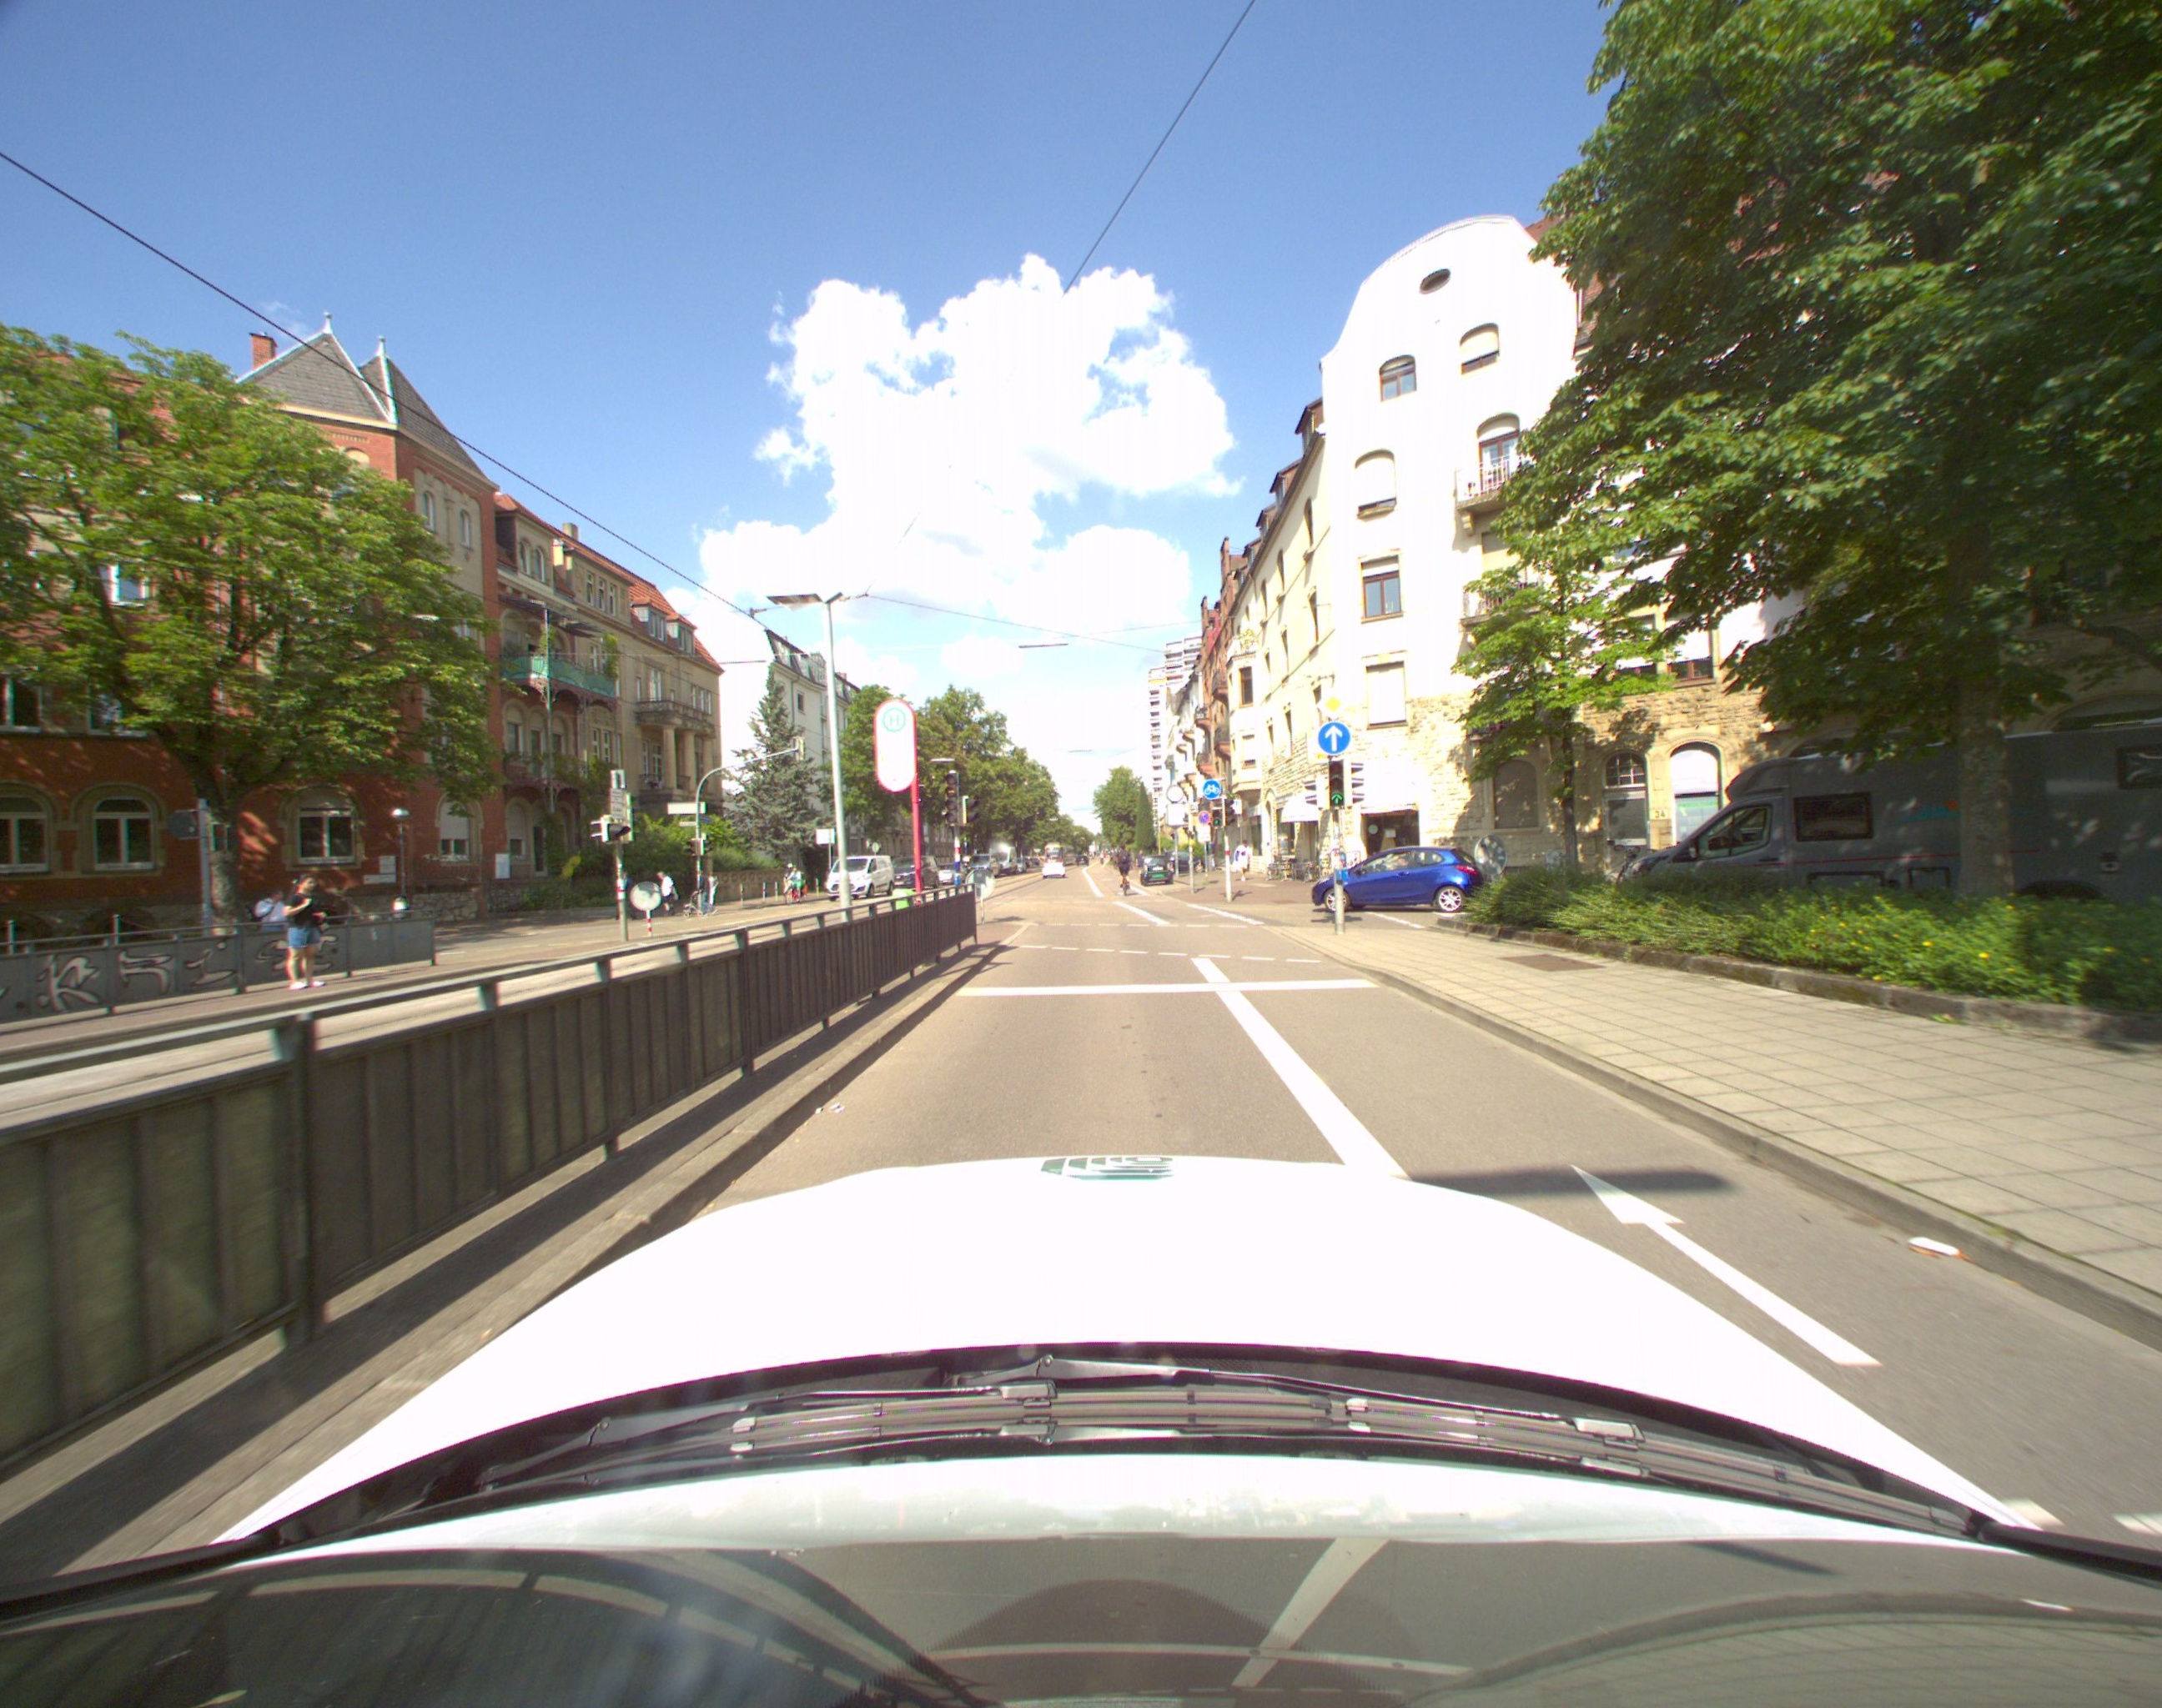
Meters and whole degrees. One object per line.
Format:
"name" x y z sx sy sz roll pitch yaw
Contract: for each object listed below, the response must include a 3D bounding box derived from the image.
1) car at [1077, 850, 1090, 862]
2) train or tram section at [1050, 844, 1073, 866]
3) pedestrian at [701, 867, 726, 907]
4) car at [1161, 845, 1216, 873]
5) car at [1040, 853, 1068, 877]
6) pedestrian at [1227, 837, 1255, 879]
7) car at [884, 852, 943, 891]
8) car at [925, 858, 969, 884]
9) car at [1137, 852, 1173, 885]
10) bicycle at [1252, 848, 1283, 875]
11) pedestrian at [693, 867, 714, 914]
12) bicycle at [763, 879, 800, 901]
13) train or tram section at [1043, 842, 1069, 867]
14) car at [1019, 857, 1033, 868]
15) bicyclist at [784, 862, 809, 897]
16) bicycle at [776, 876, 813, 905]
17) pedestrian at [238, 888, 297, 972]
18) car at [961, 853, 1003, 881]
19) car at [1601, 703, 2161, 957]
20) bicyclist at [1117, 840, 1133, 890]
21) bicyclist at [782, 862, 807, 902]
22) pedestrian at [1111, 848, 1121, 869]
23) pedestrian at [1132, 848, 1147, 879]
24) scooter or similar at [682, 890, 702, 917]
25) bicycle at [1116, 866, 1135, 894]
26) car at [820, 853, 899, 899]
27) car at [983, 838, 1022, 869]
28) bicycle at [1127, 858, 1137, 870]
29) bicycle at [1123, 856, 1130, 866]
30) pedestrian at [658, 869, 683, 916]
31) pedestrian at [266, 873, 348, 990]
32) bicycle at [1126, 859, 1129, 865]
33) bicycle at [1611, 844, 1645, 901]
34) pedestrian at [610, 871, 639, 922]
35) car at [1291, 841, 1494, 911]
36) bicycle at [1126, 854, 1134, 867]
"car" 0.369 0.307 118.893 1.659 1.624 3.622 -3 0 2
"train or tram section" -3.129 0.226 133.072 2.642 3.389 11.479 -4 -1 2
"pedestrian" -15.425 1.388 34.155 0.515 1.657 0.821 -1 -1 22
"car" 6.946 0.315 52.980 3.386 1.523 1.974 -4 -1 4
"car" -1.900 0.785 58.758 1.658 1.625 3.624 0 -1 4
"pedestrian" 7.086 0.185 36.166 1.006 1.768 0.850 -4 0 3
"car" -9.225 0.953 45.379 1.919 1.917 5.127 -4 -1 3
"car" -8.666 1.092 53.009 1.685 1.480 4.488 -3 0 5
"car" 3.801 0.717 42.113 1.509 1.498 2.794 -5 0 0
"bicycle" 8.583 0.344 37.589 0.802 1.177 2.751 0 -1 -1
"pedestrian" -13.554 1.295 29.279 0.520 1.657 0.749 0 -1 -12
"bicycle" -13.998 1.671 38.101 0.995 0.933 1.860 1 1 1
"train or tram section" -3.664 0.140 121.242 2.642 3.436 12.322 -4 -1 3
"car" -8.712 1.314 128.251 1.744 1.665 4.722 0 -1 1
"bicyclist" -13.562 1.212 38.845 0.947 1.644 0.702 0 -1 0
"bicycle" -12.527 1.584 35.672 0.842 1.160 1.956 0 -1 2
"pedestrian" -17.228 1.579 17.269 0.465 1.698 0.846 0 -1 -10
"car" -7.547 1.032 62.857 1.976 1.963 5.188 -3 -3 7
"car" 11.517 -0.296 11.460 2.404 2.793 6.599 -4 1 -37
"bicyclist" 1.729 0.427 32.451 0.605 1.948 1.131 0 -1 2
"bicyclist" -12.520 1.210 35.624 0.835 1.696 0.672 0 -1 0
"pedestrian" 3.223 0.425 75.786 0.786 1.862 0.579 -2 -2 -5
"pedestrian" 3.643 0.581 50.740 0.658 1.841 0.871 -6 0 -6
"scooter or similar" -13.912 1.774 29.151 0.548 0.922 0.498 0 -1 -12
"bicycle" 1.749 1.028 32.451 0.613 1.045 1.837 -6 -2 2
"car" -10.220 1.005 38.059 1.985 1.995 5.094 0 -1 4
"car" -6.700 -0.092 70.471 2.306 2.507 6.368 -2 0 3
"bicycle" 4.376 0.870 70.296 0.597 0.961 3.065 -6 0 -1
"bicycle" 4.806 0.774 86.486 0.608 0.996 2.363 -5 -1 2
"pedestrian" -14.897 1.400 29.557 0.611 1.657 0.723 0 0 -12
"pedestrian" -10.787 1.064 11.362 0.535 1.542 0.516 -3 1 1
"bicycle" 5.422 0.942 95.791 0.278 0.677 1.560 -5 -1 2
"bicycle" 12.775 0.399 19.005 0.580 1.209 1.985 -1 1 36
"pedestrian" -15.688 1.447 27.998 0.622 1.698 0.846 0 -1 -10
"car" 7.118 0.507 18.766 3.948 1.419 1.904 -3 0 37
"bicycle" 5.002 0.676 83.009 0.737 1.231 2.517 -2 -1 2
